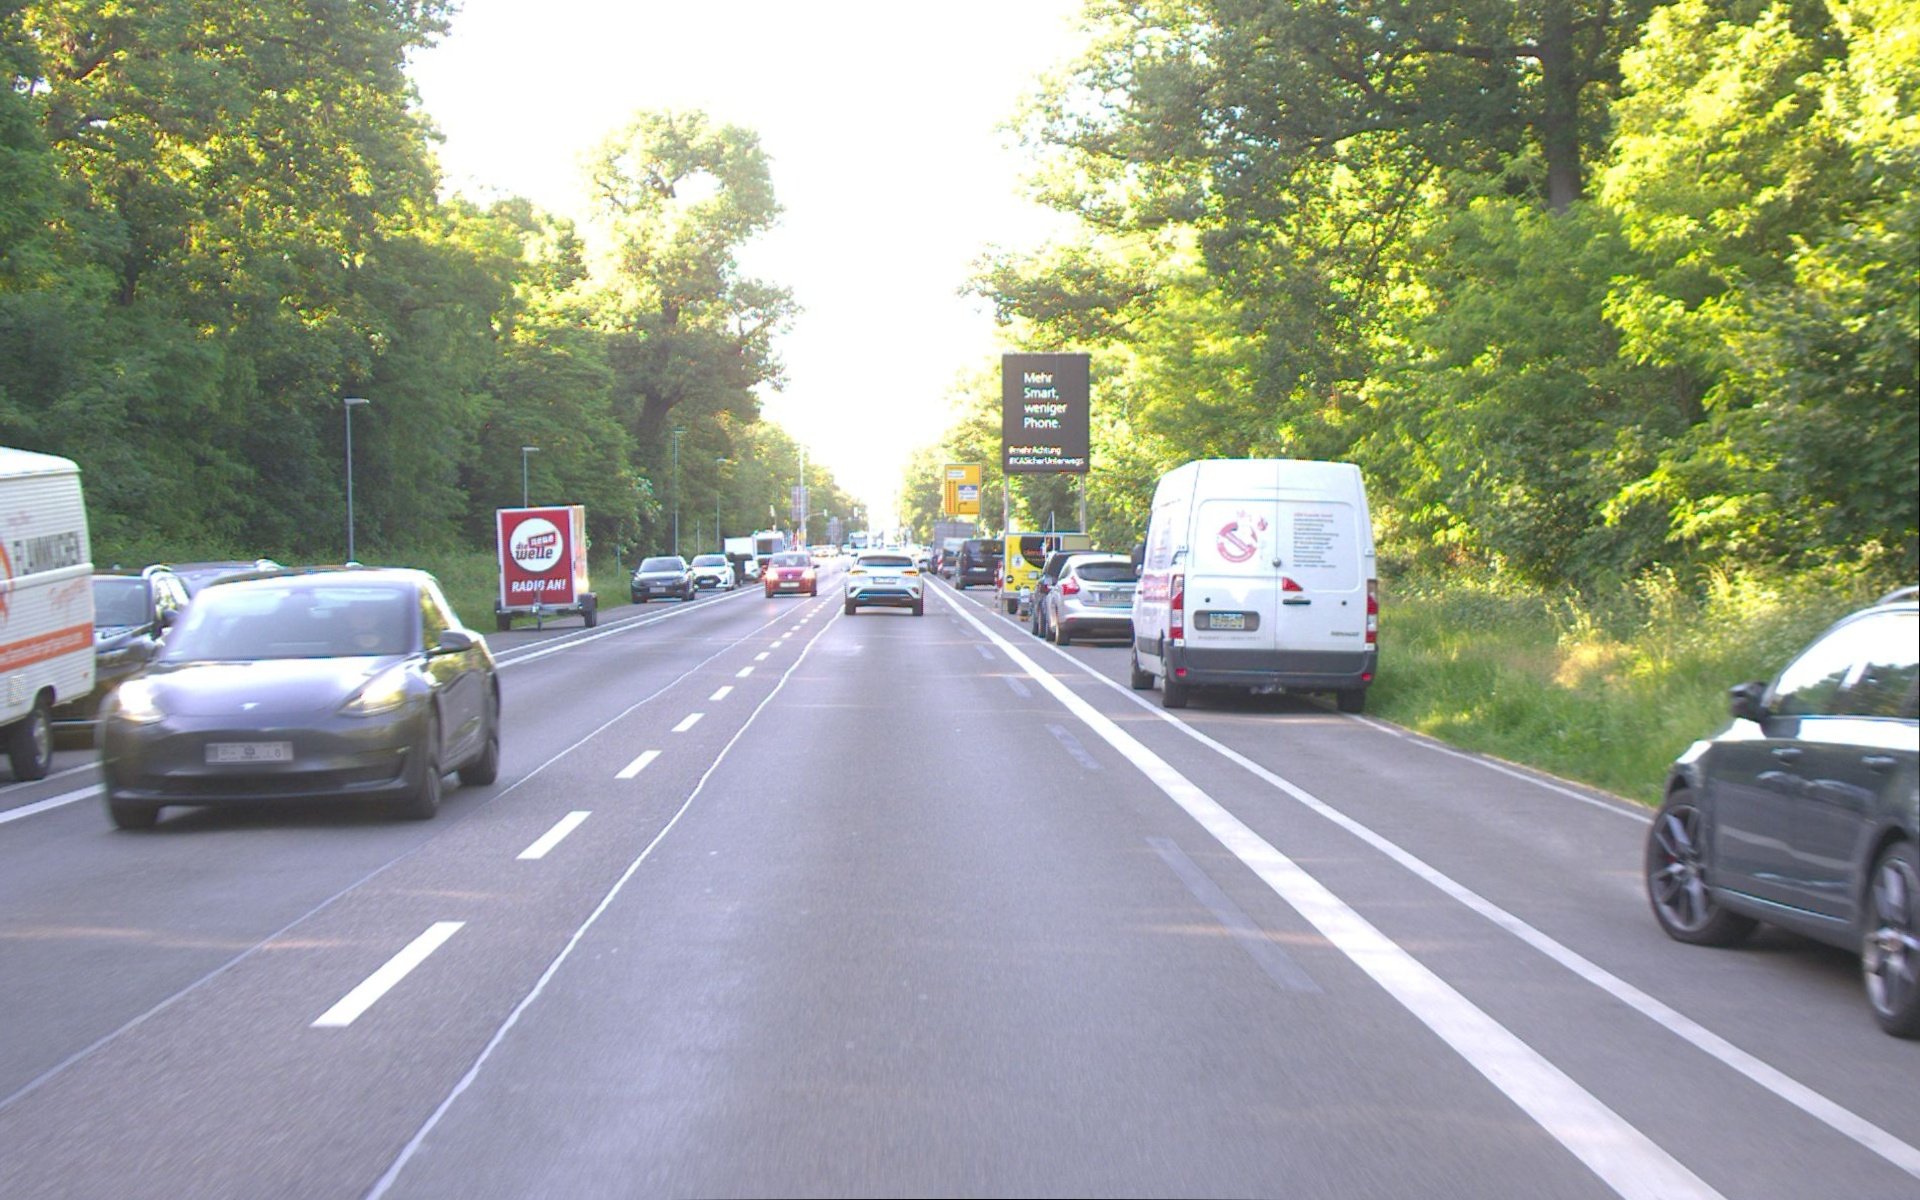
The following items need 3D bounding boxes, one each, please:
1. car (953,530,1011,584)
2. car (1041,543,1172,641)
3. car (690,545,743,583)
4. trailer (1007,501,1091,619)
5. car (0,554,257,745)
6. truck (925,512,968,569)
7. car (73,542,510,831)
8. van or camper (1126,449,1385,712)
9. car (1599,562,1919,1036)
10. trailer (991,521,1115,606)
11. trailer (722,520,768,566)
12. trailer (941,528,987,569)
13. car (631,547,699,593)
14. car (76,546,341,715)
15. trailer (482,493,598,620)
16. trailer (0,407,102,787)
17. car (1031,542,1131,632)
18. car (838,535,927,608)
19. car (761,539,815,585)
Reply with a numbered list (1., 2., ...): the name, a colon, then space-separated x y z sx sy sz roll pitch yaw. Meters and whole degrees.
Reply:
1. car: 0.822 -1.674 133.522 2.113 2.007 5.040 2 1 -1
2. car: 2.353 -0.167 56.135 1.734 1.482 4.401 2 1 -2
3. car: -9.808 -1.466 138.619 1.867 1.445 4.071 -3 1 -1
4. trailer: 1.940 -0.868 75.554 1.613 2.500 4.000 1 1 -1
5. car: -7.485 0.397 30.378 1.671 1.490 4.194 -4 1 -1
6. truck: -0.826 -3.544 207.775 2.505 3.355 7.108 1 1 -1
7. car: -3.906 0.444 20.838 1.819 1.527 4.531 -1 1 -1
8. van or camper: 2.942 -0.238 35.642 2.125 2.474 6.305 0 1 0
9. car: 3.780 0.636 12.177 1.834 1.416 4.598 3 1 -4
10. trailer: 2.298 -0.906 84.002 1.964 2.016 3.840 0 1 19
11. trailer: -11.184 -2.972 179.320 2.075 2.285 3.486 -1 1 1
12. trailer: 0.212 -2.671 177.872 1.616 2.105 2.394 1 1 20
13. car: -9.561 -0.993 111.640 1.855 1.459 4.784 0 1 -1
14. car: -7.886 0.276 36.531 1.671 1.568 5.127 -4 1 -1
15. trailer: -8.882 -0.923 72.999 1.993 2.612 4.086 0 1 -1
16. trailer: -7.659 -0.034 24.310 2.345 2.520 4.345 -1 1 -4
17. car: 2.133 -0.254 61.409 1.586 1.525 3.011 1 1 -1
18. car: -1.793 -0.686 80.084 1.993 1.634 4.000 -1 1 -1
19. car: -5.531 -1.234 110.889 1.604 1.416 3.519 -2 1 -1
